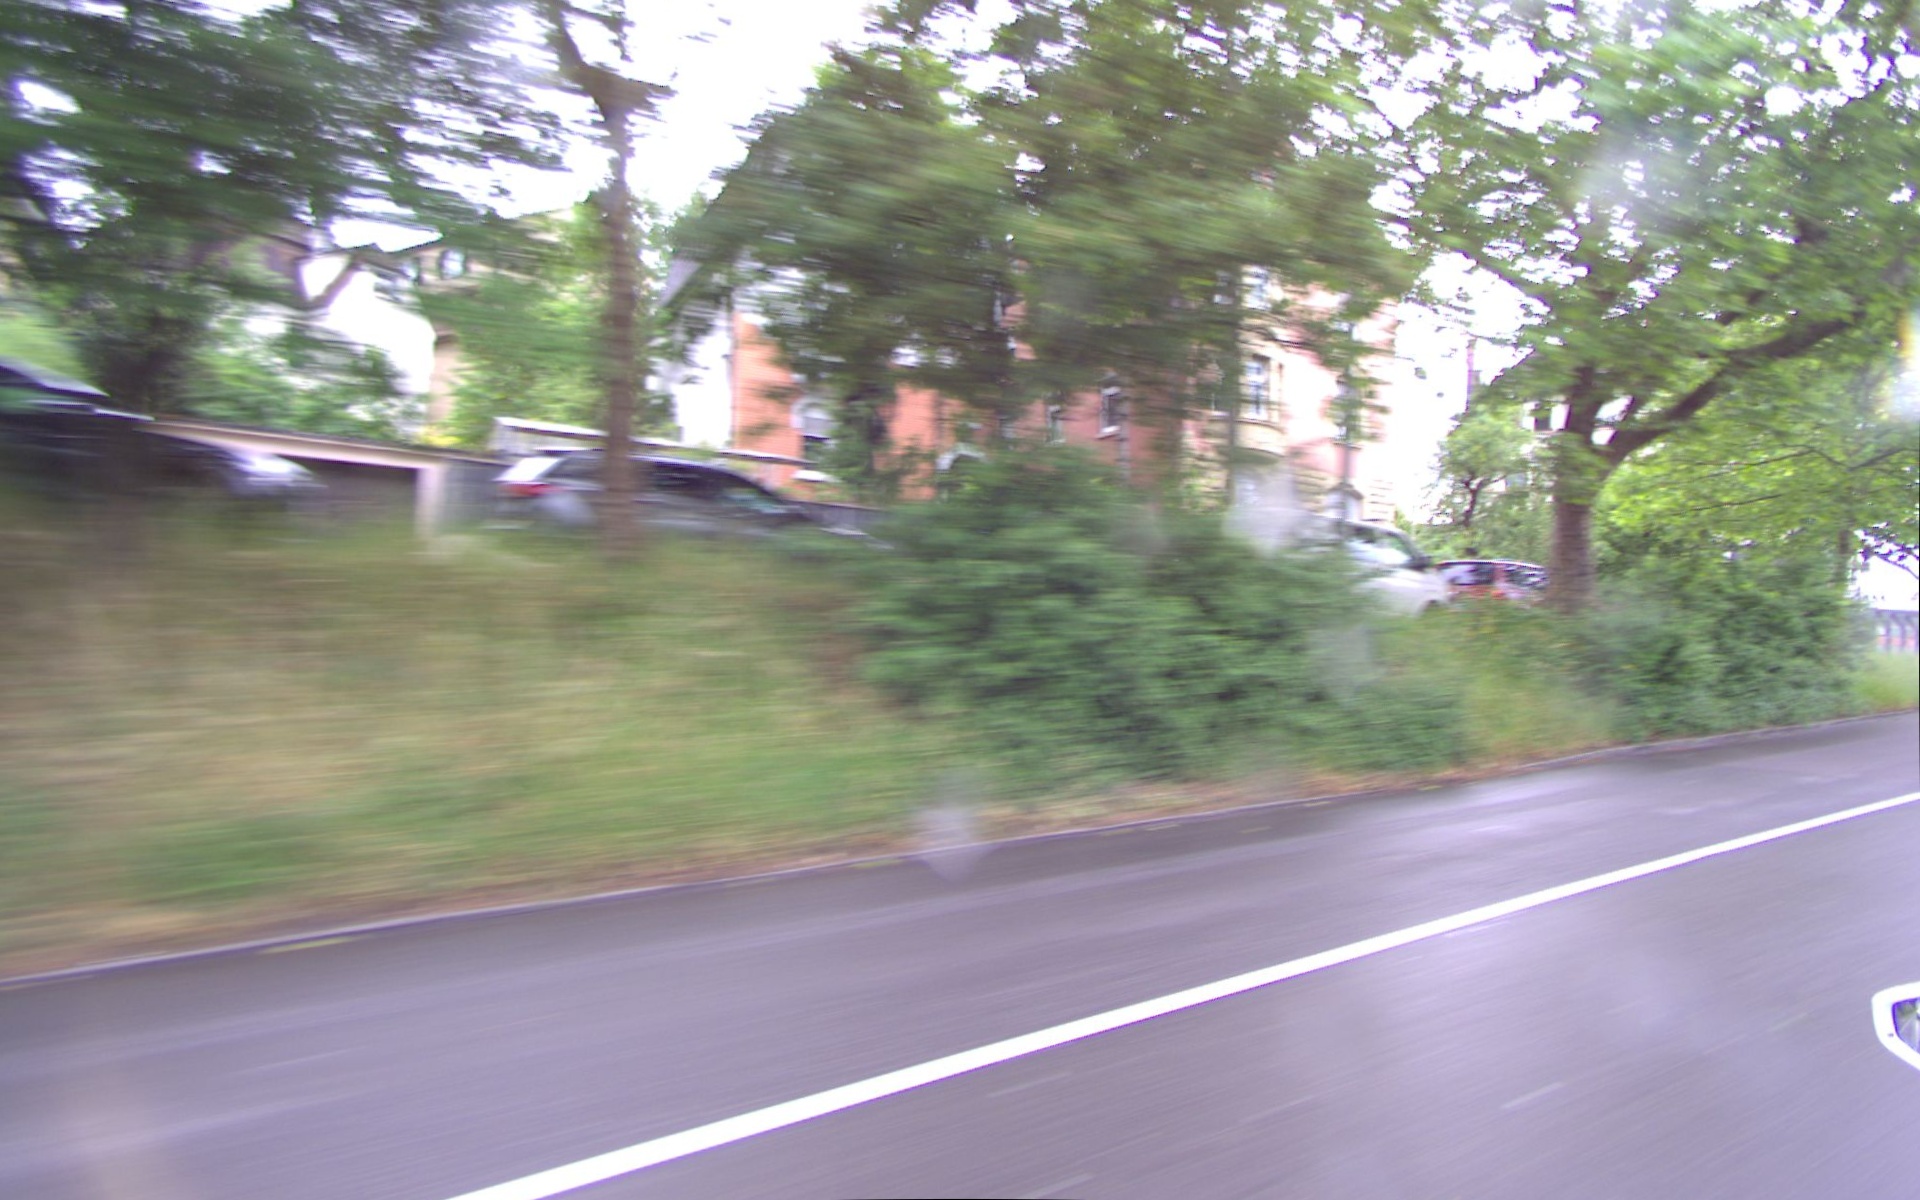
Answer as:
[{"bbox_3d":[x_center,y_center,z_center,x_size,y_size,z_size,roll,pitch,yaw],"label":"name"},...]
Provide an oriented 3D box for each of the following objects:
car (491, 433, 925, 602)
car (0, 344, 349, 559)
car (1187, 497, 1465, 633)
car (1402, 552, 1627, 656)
[{"bbox_3d":[-2.852,-0.808,11.668,4.573,1.578,1.821,1,1,-30],"label":"car"},{"bbox_3d":[-7.860,-1.233,8.768,4.235,1.578,1.821,1,1,-30],"label":"car"},{"bbox_3d":[6.284,-0.511,17.139,4.573,2.041,1.984,1,1,-30],"label":"car"},{"bbox_3d":[11.112,0.086,20.057,4.573,1.868,1.821,1,1,-30],"label":"car"}]
